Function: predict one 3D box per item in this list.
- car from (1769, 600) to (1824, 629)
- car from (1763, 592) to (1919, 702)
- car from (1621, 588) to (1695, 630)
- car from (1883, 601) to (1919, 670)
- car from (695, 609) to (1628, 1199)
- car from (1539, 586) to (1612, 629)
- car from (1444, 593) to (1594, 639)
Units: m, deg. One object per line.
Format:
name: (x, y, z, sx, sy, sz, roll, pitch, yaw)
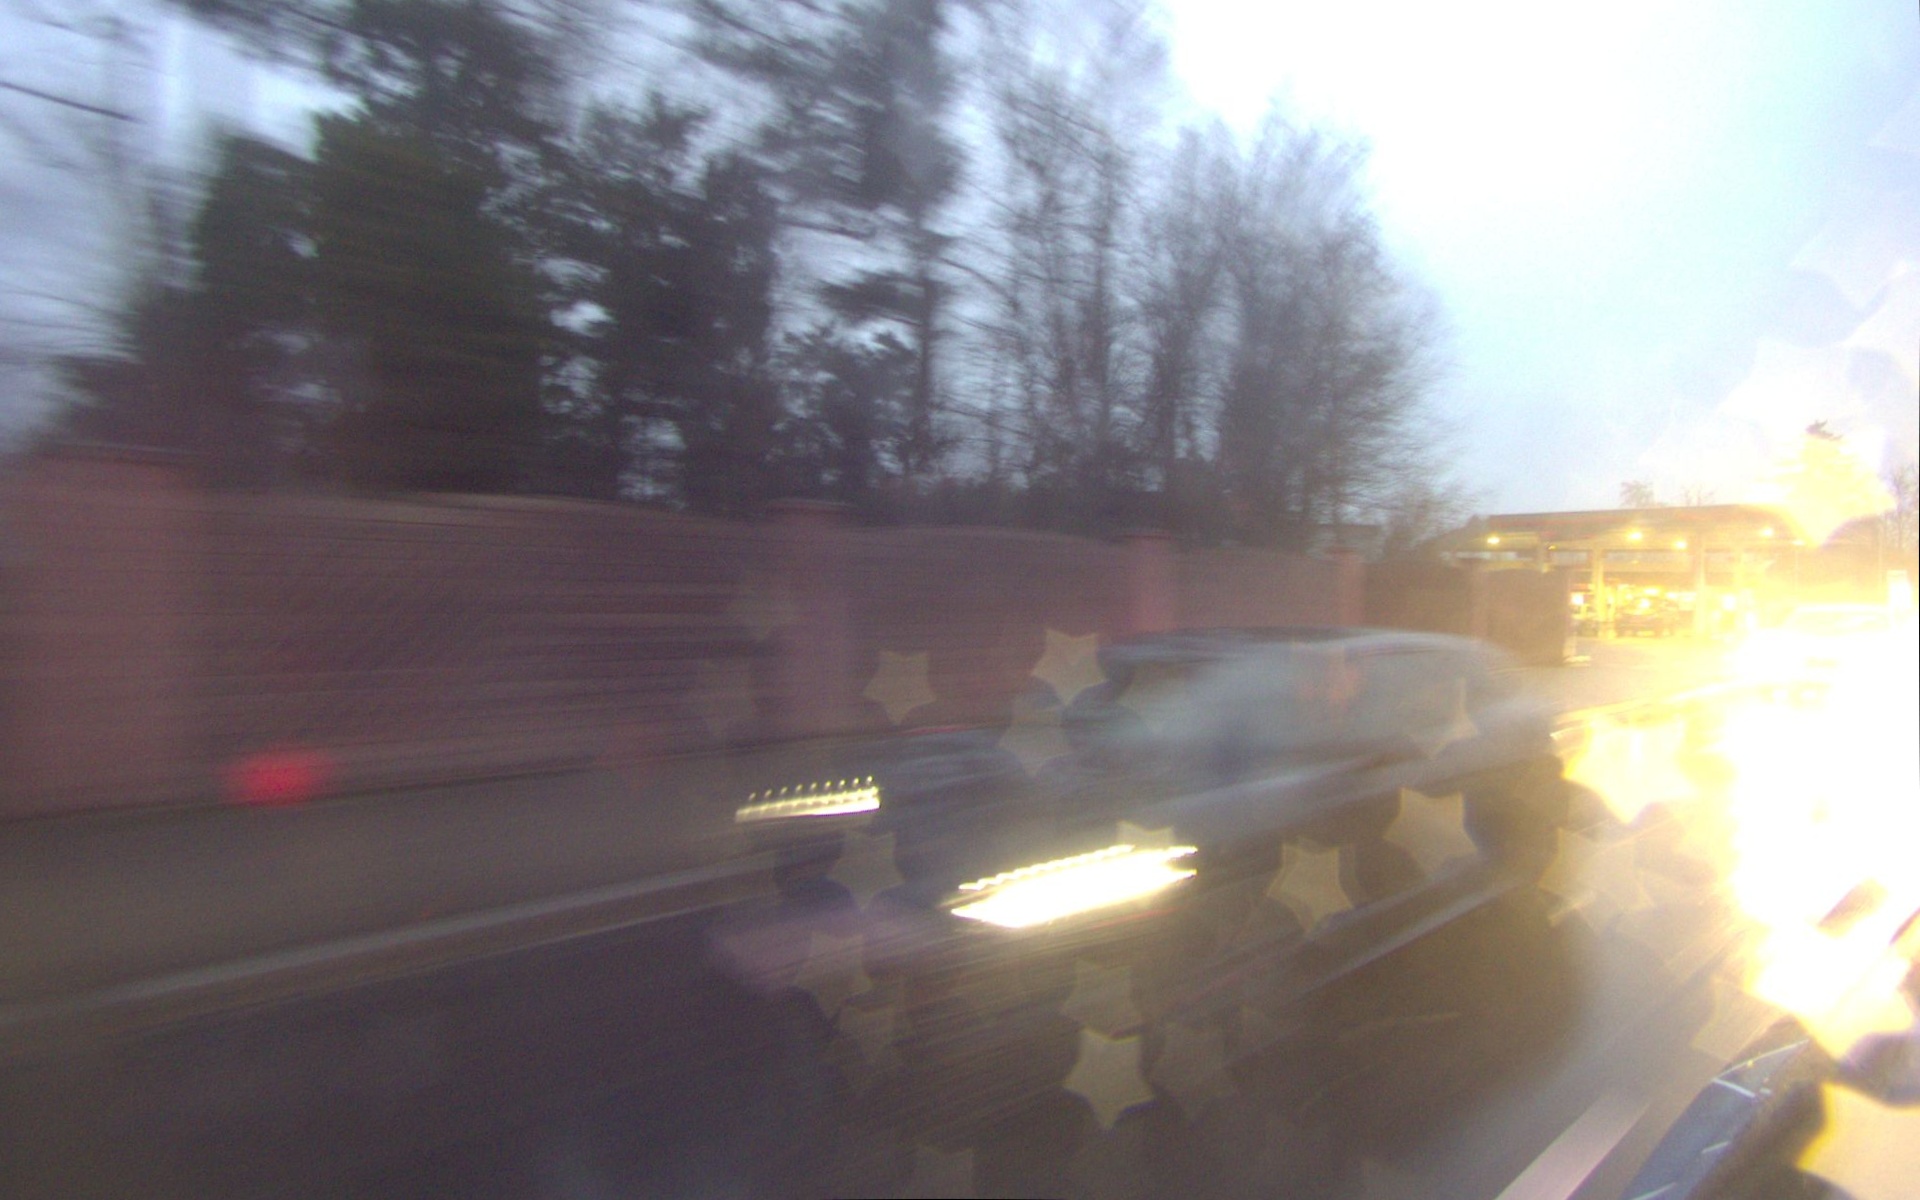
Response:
car: (43.431, 0.742, 52.522, 4.096, 1.414, 1.575, 1, 1, -42)
car: (15.028, 0.697, 16.927, 4.386, 1.595, 1.711, 0, 0, -41)
car: (33.730, 0.416, 48.885, 4.224, 1.882, 1.997, 0, 1, -42)
car: (23.073, 0.796, 23.794, 3.936, 1.548, 1.568, 0, 0, -41)
car: (1.332, 0.765, 4.586, 4.685, 1.384, 1.643, 0, 0, -41)
car: (30.312, 0.360, 49.793, 3.931, 2.039, 1.996, 0, 0, -42)
car: (20.753, 0.576, 37.752, 4.405, 1.628, 2.017, 1, 0, 6)
